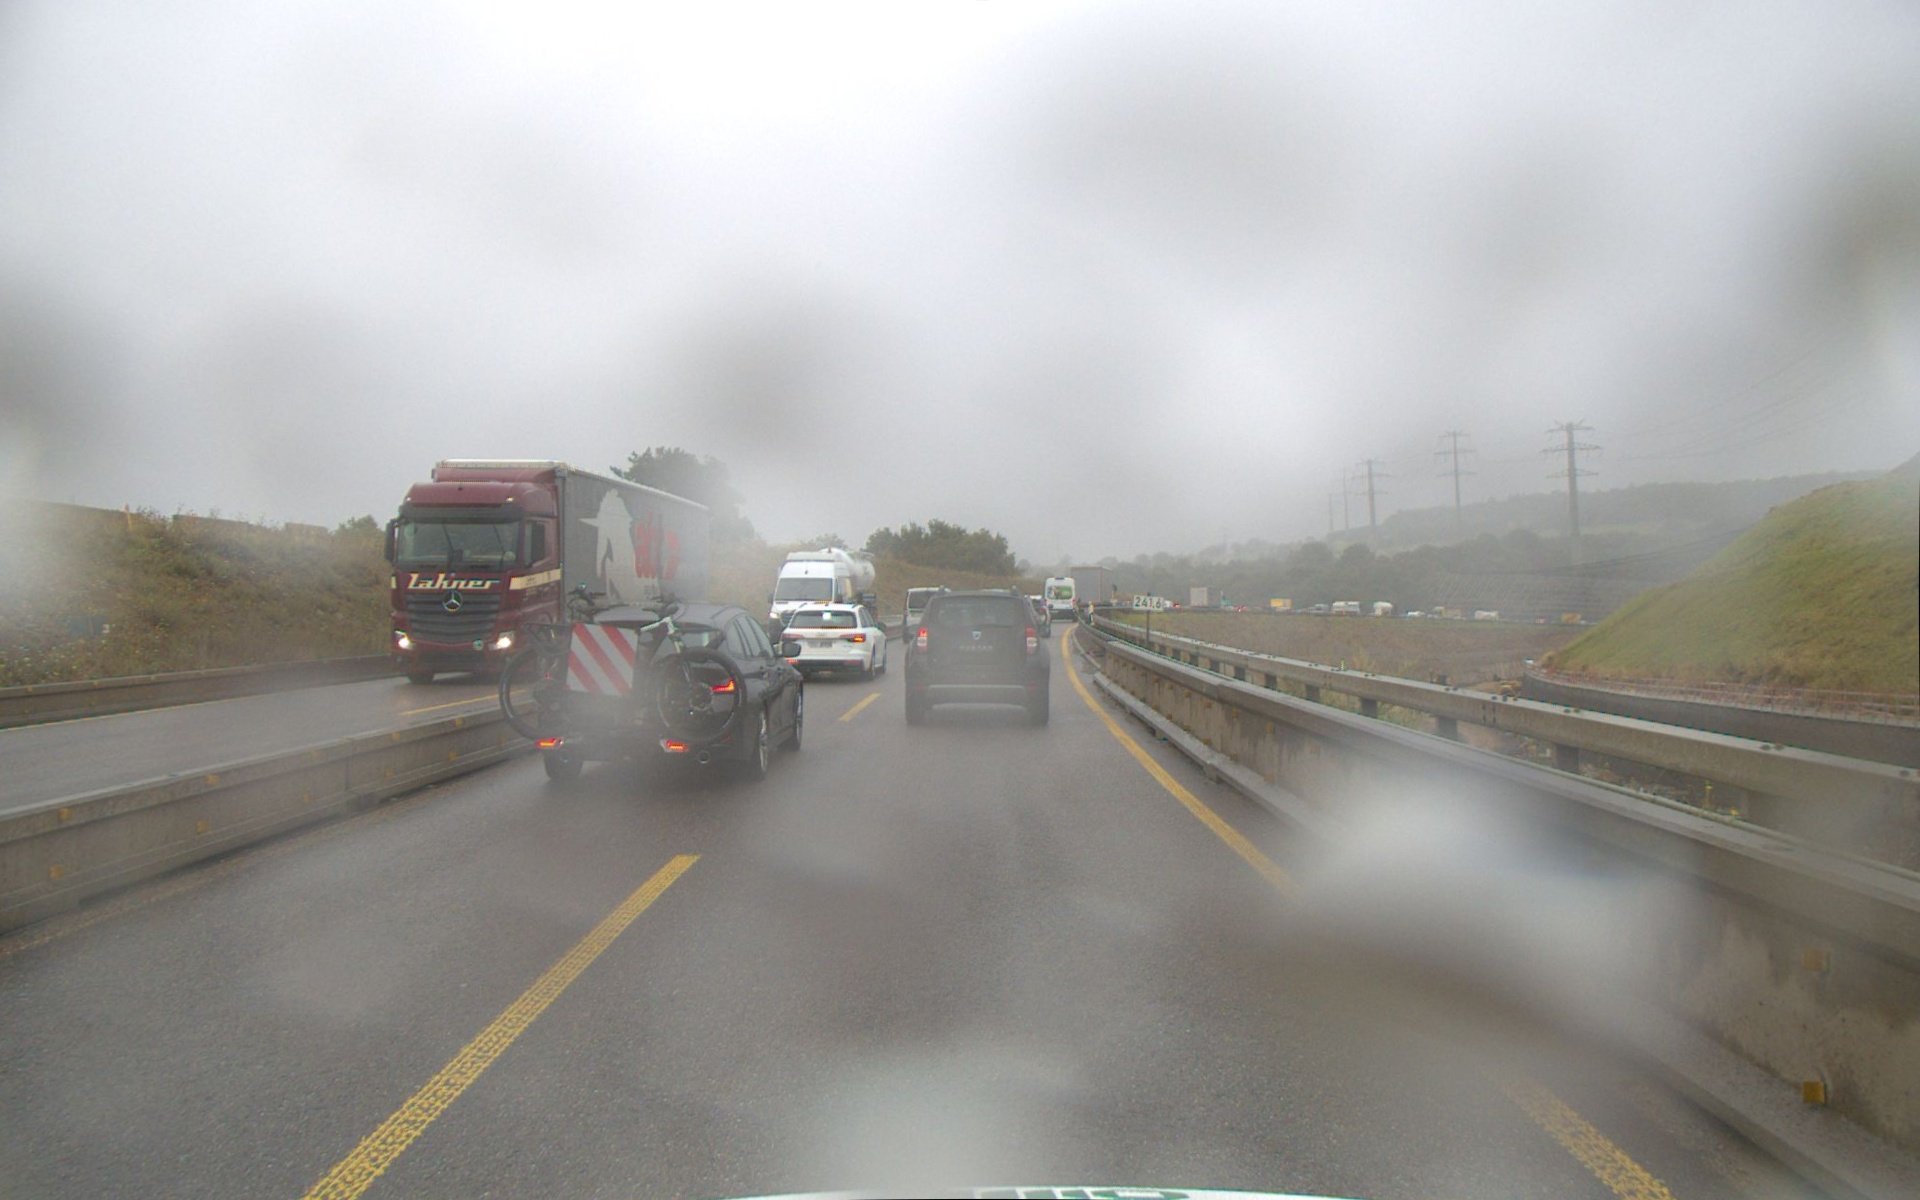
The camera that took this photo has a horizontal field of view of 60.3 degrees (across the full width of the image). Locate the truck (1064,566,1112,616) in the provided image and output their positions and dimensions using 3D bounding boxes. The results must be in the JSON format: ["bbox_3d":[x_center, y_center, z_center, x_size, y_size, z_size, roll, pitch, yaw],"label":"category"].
[{"bbox_3d":[10.363,-0.684,133.304,3.132,3.827,8.516,1,0,9],"label":"truck"}]

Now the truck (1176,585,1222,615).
[{"bbox_3d":[35.437,-0.028,244.269,4.617,4.222,15.692,1,0,16],"label":"truck"}]

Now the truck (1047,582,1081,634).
[{"bbox_3d":[6.725,0.527,107.059,2.104,3.221,6.462,1,0,4],"label":"truck"}]

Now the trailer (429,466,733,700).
[{"bbox_3d":[-8.541,-0.397,40.358,2.933,4.498,15.709,-2,0,3],"label":"trailer"}]

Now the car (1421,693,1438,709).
[{"bbox_3d":[61.729,13.273,217.545,1.951,1.848,4.003,0,-1,12],"label":"car"}]

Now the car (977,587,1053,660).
[{"bbox_3d":[1.358,0.568,42.019,1.829,1.738,4.000,0,0,1],"label":"car"}]

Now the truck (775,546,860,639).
[{"bbox_3d":[-6.372,-0.311,74.799,3.164,4.025,5.882,-1,0,1],"label":"truck"}]

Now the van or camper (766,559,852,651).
[{"bbox_3d":[-4.621,0.153,51.404,2.232,2.660,5.826,1,0,-1],"label":"van or camper"}]

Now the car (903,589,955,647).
[{"bbox_3d":[-1.027,0.605,56.889,1.626,1.913,4.020,1,0,1],"label":"car"}]

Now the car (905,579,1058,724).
[{"bbox_3d":[0.359,0.617,21.155,1.766,1.675,3.778,0,0,3],"label":"car"}]

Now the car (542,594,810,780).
[{"bbox_3d":[-2.482,0.722,15.340,1.791,1.502,3.776,0,0,1],"label":"car"}]

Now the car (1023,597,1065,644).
[{"bbox_3d":[3.177,0.742,61.959,1.498,1.669,4.014,1,0,3],"label":"car"}]

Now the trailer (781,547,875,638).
[{"bbox_3d":[-6.223,-0.299,80.014,3.188,4.033,11.539,-1,0,2],"label":"trailer"}]

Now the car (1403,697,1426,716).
[{"bbox_3d":[55.187,12.912,200.901,2.314,2.049,4.003,1,0,10],"label":"car"}]

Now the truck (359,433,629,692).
[{"bbox_3d":[-8.935,-0.678,32.690,2.917,4.486,6.934,-2,0,3],"label":"truck"}]

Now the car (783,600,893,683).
[{"bbox_3d":[-2.292,0.755,32.127,1.829,1.486,4.548,1,0,-1],"label":"car"}]

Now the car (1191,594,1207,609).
[{"bbox_3d":[31.632,0.236,218.521,1.737,1.949,4.003,1,0,13],"label":"car"}]

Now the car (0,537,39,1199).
[{"bbox_3d":[-2.382,0.679,0.612,1.581,1.532,4.368,-2,0,1],"label":"car"}]

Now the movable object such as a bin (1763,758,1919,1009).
[{"bbox_3d":[26.659,7.546,44.636,4.791,5.770,12.094,1,-3,4],"label":"movable object such as a bin"}]
